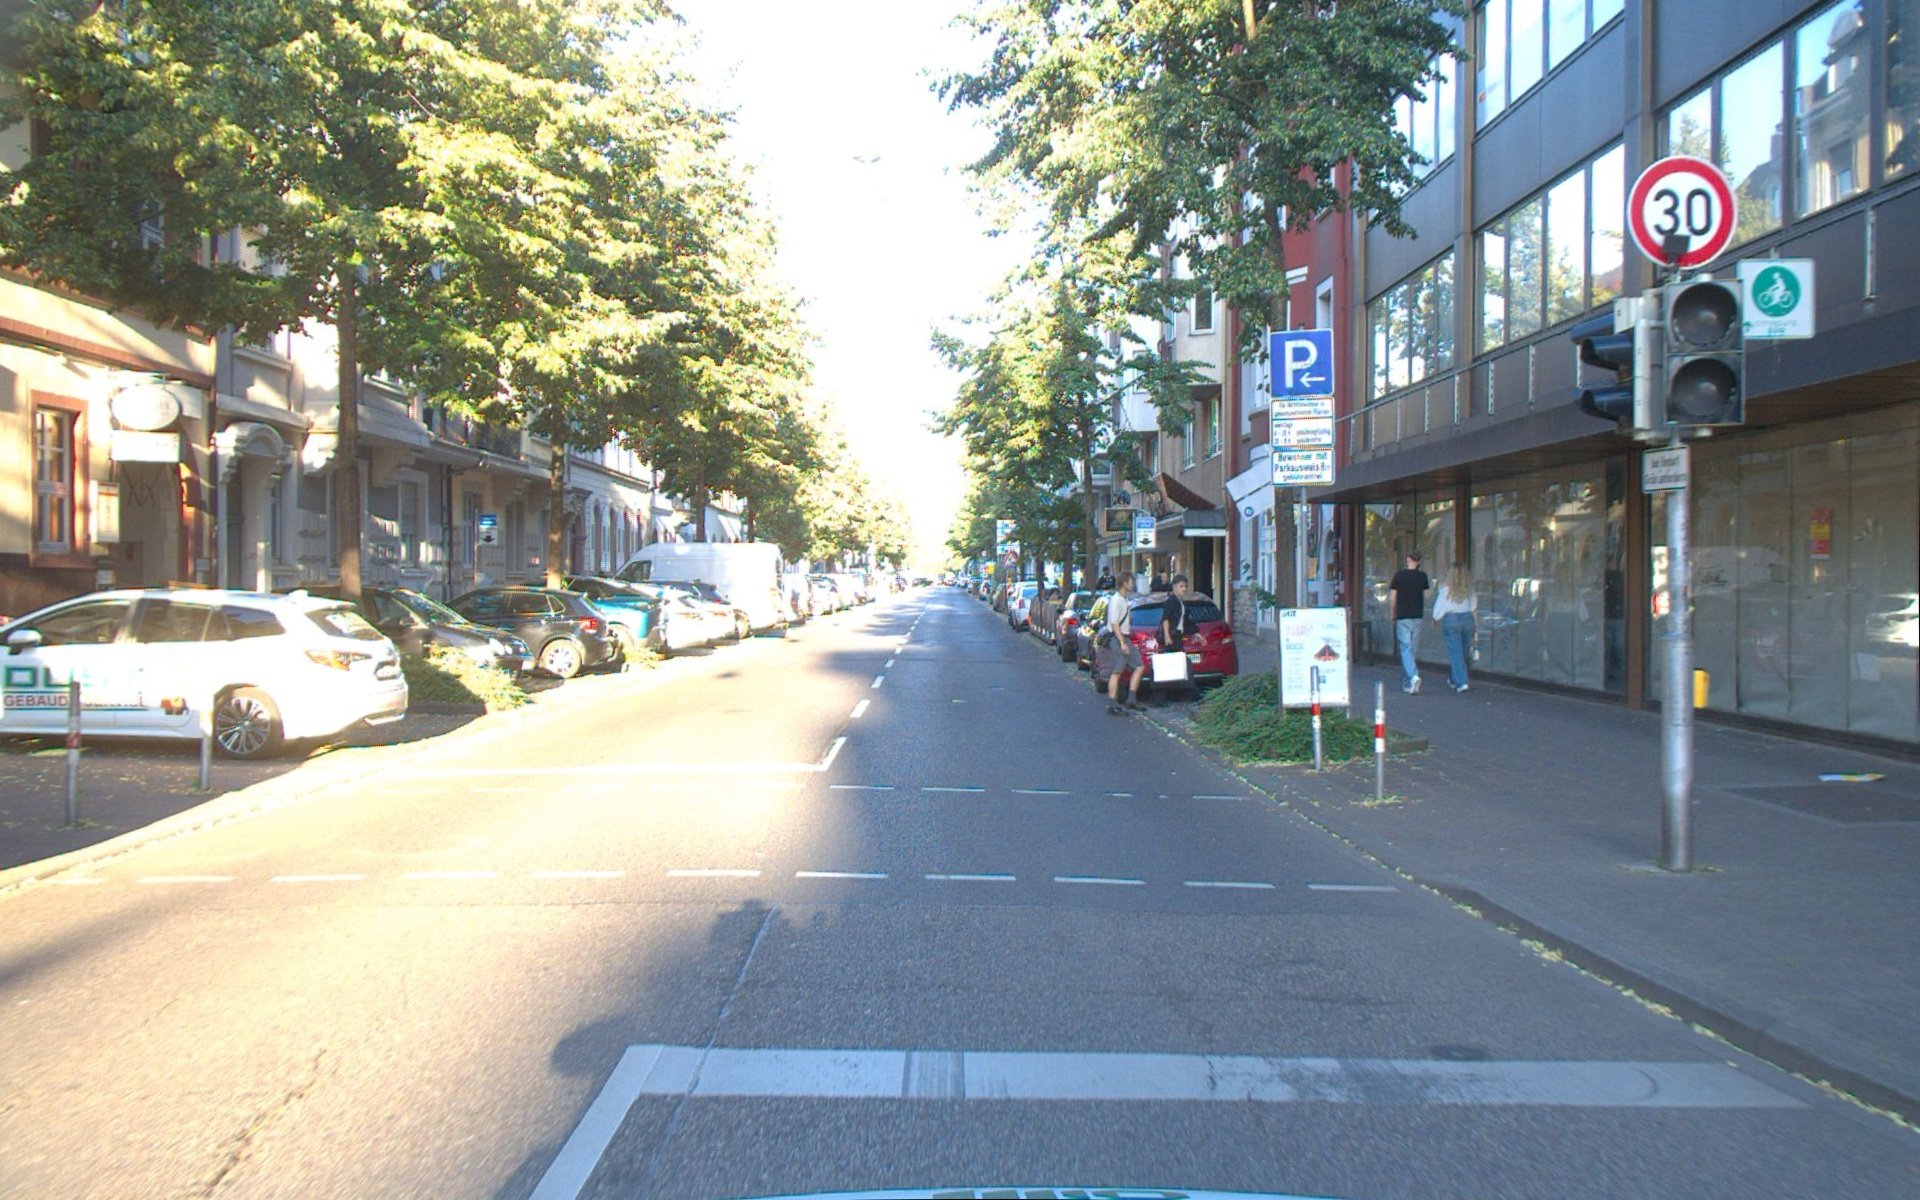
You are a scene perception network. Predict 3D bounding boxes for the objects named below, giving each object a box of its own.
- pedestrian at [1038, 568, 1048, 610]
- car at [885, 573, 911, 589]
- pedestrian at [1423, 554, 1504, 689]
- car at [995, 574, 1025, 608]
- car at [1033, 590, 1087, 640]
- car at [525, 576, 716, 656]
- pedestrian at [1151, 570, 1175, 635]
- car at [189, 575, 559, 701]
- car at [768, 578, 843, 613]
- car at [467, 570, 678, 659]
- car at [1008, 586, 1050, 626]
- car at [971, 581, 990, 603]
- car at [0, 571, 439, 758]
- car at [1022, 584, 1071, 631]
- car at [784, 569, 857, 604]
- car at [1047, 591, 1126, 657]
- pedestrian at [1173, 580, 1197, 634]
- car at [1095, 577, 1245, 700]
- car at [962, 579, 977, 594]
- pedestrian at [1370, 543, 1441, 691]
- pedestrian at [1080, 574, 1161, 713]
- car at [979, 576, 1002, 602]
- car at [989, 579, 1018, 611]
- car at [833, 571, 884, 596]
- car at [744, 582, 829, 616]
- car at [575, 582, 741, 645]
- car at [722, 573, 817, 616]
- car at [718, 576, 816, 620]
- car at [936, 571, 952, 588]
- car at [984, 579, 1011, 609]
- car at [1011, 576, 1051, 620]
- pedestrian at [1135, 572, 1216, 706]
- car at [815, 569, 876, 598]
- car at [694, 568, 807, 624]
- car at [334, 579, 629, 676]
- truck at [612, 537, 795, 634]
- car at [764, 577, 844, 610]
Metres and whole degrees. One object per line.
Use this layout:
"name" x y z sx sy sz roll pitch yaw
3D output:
"pedestrian" 4.095 -0.544 81.293 0.440 2.048 0.424 1 1 -1
"car" -8.119 -2.511 216.562 3.041 2.048 1.581 2 1 23
"pedestrian" 6.650 0.272 21.875 0.750 1.718 0.786 -2 1 -3
"car" 2.481 -0.435 82.254 1.283 1.628 2.659 1 0 -3
"car" 2.738 0.404 45.788 1.182 1.323 2.659 1 0 -3
"car" -7.152 0.320 35.164 3.663 1.624 2.000 0 0 -1
"pedestrian" 5.198 0.056 42.425 0.523 1.650 0.534 1 1 0
"car" -7.899 0.485 22.636 4.336 1.627 2.000 0 0 -1
"car" -7.801 -0.251 83.714 3.663 1.738 2.000 0 0 -1
"car" -7.509 0.266 32.363 3.664 1.671 2.000 0 0 -1
"car" 2.323 0.203 56.028 1.182 1.323 2.659 1 0 -3
"car" 1.621 -0.621 128.804 1.283 1.628 2.659 1 0 -3
"car" -7.178 0.542 15.241 4.090 1.533 2.000 1 0 -1
"car" 2.552 0.215 49.241 1.182 1.323 2.659 1 0 -3
"car" -7.350 -0.712 87.216 3.664 1.738 2.000 1 1 -1
"car" 2.714 0.491 35.854 1.279 1.315 3.012 2 0 -3
"pedestrian" 5.823 0.172 42.845 0.523 1.384 0.534 1 1 0
"car" 2.998 0.494 24.156 1.545 1.569 3.395 -2 2 -3
"car" 1.029 -1.496 185.728 1.544 1.606 3.113 1 1 -3
"pedestrian" 5.894 0.215 21.908 0.700 1.898 0.679 -2 1 -3
"pedestrian" 2.029 0.537 20.959 0.710 1.702 0.700 0 1 -41
"car" 1.955 -0.686 105.743 1.283 1.628 2.659 1 0 -3
"car" 2.270 -0.278 87.369 1.283 1.628 2.659 1 0 -3
"car" -7.464 -1.208 121.853 3.664 1.738 2.000 1 1 -1
"car" -7.796 -0.047 74.686 3.663 1.475 2.000 0 0 -1
"car" -7.292 0.313 40.210 3.664 1.475 2.000 0 0 -1
"car" -7.750 -0.229 67.530 3.663 1.738 2.000 0 0 -1
"car" -7.261 -0.072 62.483 3.513 1.623 1.700 0 0 -1
"car" -2.034 -2.576 208.770 1.546 2.048 3.109 1 1 -8
"car" 2.056 -0.313 91.473 1.283 1.628 2.659 1 0 -3
"car" 2.695 -0.062 63.240 1.283 1.628 2.659 1 0 -3
"pedestrian" 2.827 0.496 21.706 0.717 1.712 0.746 0 2 -41
"car" -7.142 -1.053 103.115 3.664 1.738 2.000 1 1 -1
"car" -7.175 -0.143 56.995 3.664 1.891 2.000 0 0 -1
"car" -7.904 0.432 27.643 4.336 1.529 2.000 0 0 -1
"truck" -7.173 -0.410 46.629 4.841 2.660 2.000 0 0 -1
"car" -7.458 -0.320 79.402 3.663 1.519 2.000 0 0 -1
